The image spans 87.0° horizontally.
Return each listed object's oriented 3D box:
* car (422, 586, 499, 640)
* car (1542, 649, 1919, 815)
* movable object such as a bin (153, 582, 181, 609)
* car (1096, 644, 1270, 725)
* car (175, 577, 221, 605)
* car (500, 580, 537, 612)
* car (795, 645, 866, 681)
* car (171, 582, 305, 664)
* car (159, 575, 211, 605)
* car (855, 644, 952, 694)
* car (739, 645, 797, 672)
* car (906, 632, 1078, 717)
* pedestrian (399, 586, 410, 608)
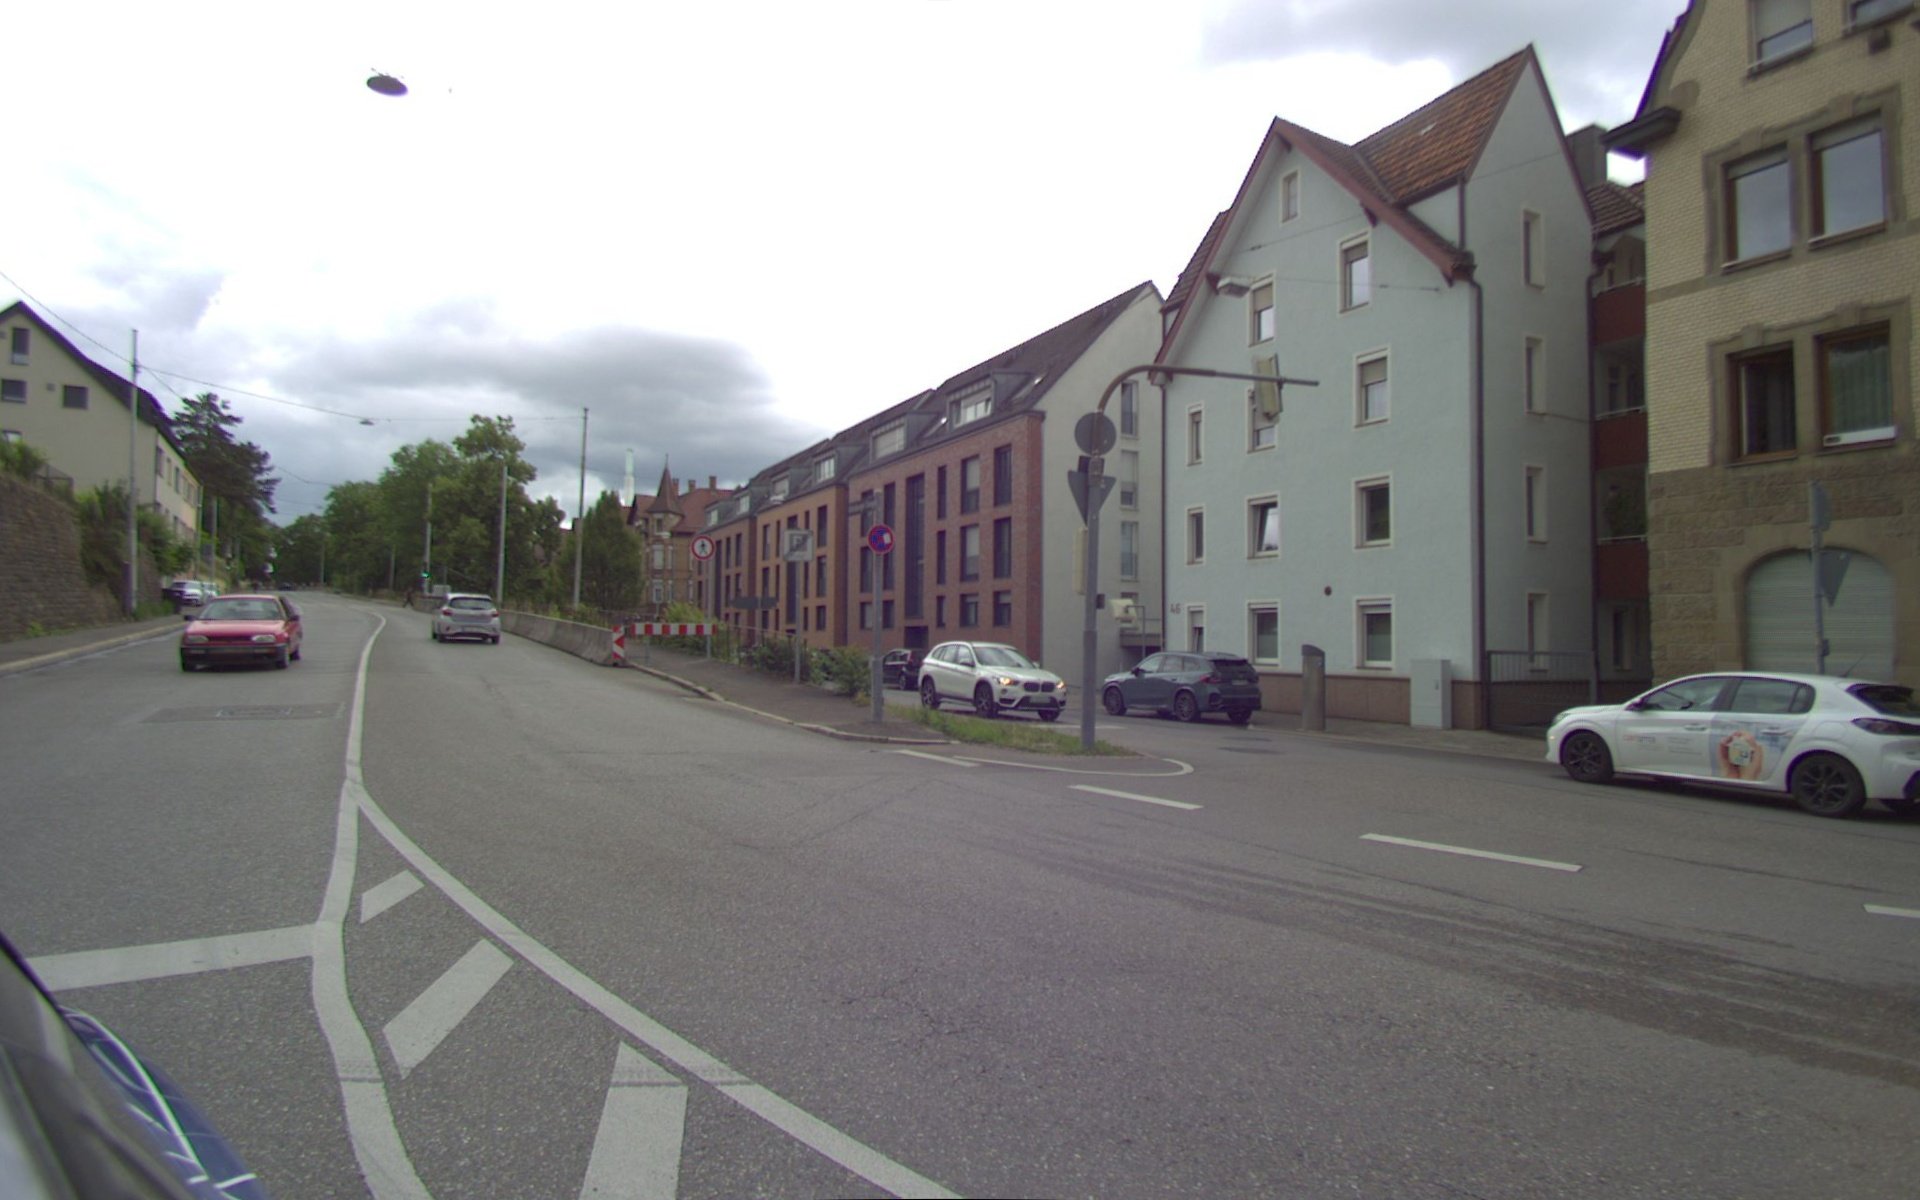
[{"bbox_3d":[-15.440,0.440,31.215,1.647,1.479,3.653,5,-4,-33],"label":"car"},{"bbox_3d":[8.910,1.351,11.352,1.657,1.477,3.931,4,-3,-22],"label":"car"},{"bbox_3d":[-33.239,-0.188,42.427,0.798,1.135,0.877,1,0,-31],"label":"movable object such as a bin"},{"bbox_3d":[5.231,1.933,24.271,1.658,1.567,4.247,1,0,-29],"label":"car"},{"bbox_3d":[-45.100,-0.569,59.959,1.703,1.586,4.262,0,1,-30],"label":"car"},{"bbox_3d":[-37.101,-0.377,84.941,2.523,2.601,5.755,0,1,-27],"label":"car"},{"bbox_3d":[-6.303,3.032,49.041,1.966,1.497,4.012,4,-3,-29],"label":"car"},{"bbox_3d":[-14.230,0.431,20.150,1.619,1.449,4.013,2,-1,-28],"label":"car"},{"bbox_3d":[-42.918,-0.567,56.121,1.769,1.586,4.068,0,1,-30],"label":"car"},{"bbox_3d":[-2.226,2.637,38.982,1.966,1.674,4.011,4,-3,-32],"label":"car"},{"bbox_3d":[-10.527,3.180,55.186,1.965,1.320,4.013,4,-3,-28],"label":"car"},{"bbox_3d":[0.580,1.558,22.545,1.802,1.525,4.437,1,0,-29],"label":"car"},{"bbox_3d":[-43.816,-0.248,79.857,0.723,1.725,0.698,1,0,-28],"label":"pedestrian"}]
